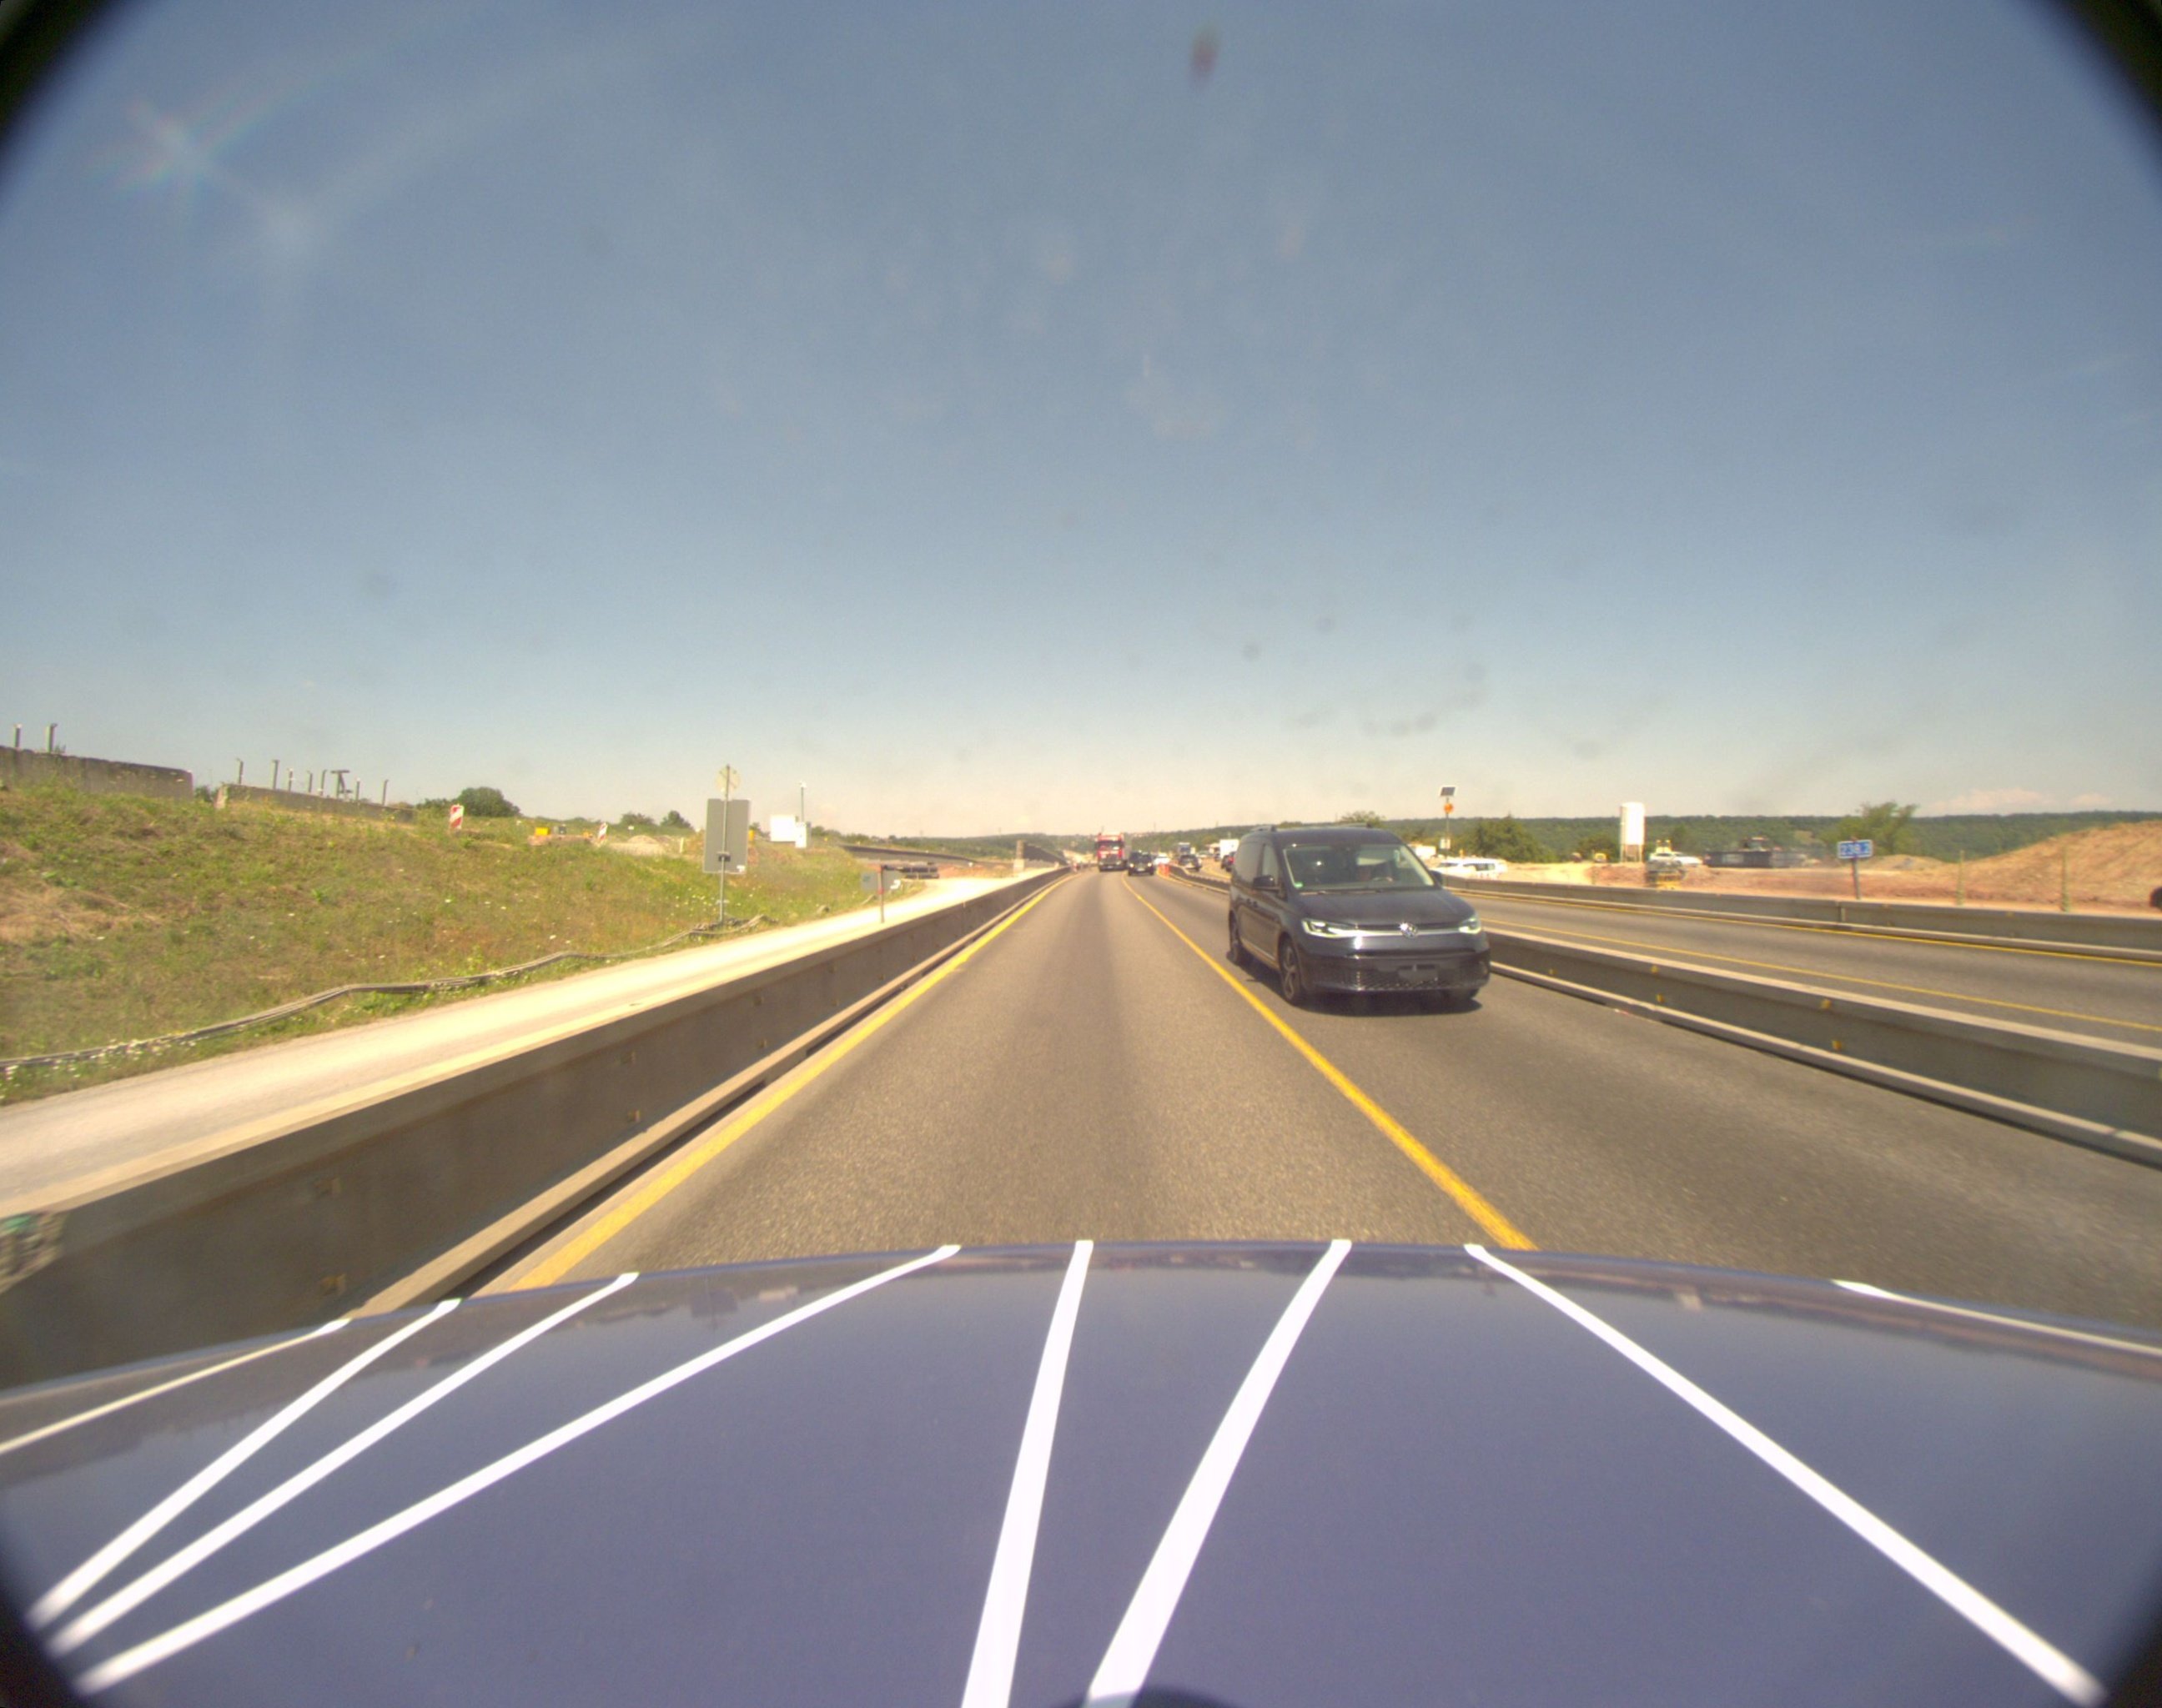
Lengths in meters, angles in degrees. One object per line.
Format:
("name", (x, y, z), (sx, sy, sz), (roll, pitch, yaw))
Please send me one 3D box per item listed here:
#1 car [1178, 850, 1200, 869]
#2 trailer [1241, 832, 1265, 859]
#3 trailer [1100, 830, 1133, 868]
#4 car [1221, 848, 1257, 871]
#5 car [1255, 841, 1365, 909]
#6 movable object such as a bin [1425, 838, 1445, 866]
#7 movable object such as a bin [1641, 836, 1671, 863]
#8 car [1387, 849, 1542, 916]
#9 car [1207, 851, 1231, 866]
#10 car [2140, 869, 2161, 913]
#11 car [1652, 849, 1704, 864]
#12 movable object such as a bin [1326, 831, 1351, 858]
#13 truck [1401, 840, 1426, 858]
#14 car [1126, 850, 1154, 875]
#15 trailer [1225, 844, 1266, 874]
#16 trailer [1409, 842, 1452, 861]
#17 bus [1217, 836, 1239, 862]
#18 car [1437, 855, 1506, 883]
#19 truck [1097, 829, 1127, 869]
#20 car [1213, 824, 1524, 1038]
("car", (9.269, 0.437, 65.408), (1.697, 1.570, 4.135), (-1, 0, 6))
("trailer", (28.168, -1.326, 124.208), (2.763, 4.090, 13.995), (-1, 0, 17))
("trailer", (4.114, -0.543, 85.014), (2.700, 3.852, 12.429), (-1, 0, 7))
("car", (12.419, 0.387, 59.961), (1.928, 1.669, 4.717), (-2, 0, 2))
("car", (6.504, 0.547, 22.157), (1.776, 1.731, 5.039), (-1, 0, 1))
("movable object such as a bin", (41.620, -0.262, 89.340), (1.995, 3.122, 4.284), (-1, 0, 25))
("movable object such as a bin", (69.469, -0.554, 91.788), (1.995, 3.122, 4.493), (-1, 0, 25))
("car", (9.480, 0.632, 19.227), (1.729, 1.470, 4.393), (-1, 0, 1))
("car", (13.726, 0.431, 75.724), (1.825, 1.415, 4.648), (-1, 0, 3))
("car", (49.199, 1.640, 32.246), (2.000, 1.913, 4.561), (-1, 0, -7))
("car", (58.409, 0.204, 74.443), (1.616, 1.401, 4.446), (-1, 0, -1))
("movable object such as a bin", (43.092, -1.637, 126.951), (2.926, 4.304, 9.341), (-1, 0, 24))
("truck", (55.749, -0.847, 127.501), (2.347, 3.026, 4.264), (-1, 0, 0))
("car", (4.401, 0.591, 57.000), (1.799, 1.776, 4.000), (-1, 0, 0))
("trailer", (11.495, 0.335, 53.467), (2.135, 1.970, 5.236), (0, 0, 5))
("trailer", (56.449, -0.430, 122.826), (5.577, 2.979, 2.883), (-1, 0, 0))
("bus", (18.578, -0.670, 96.158), (2.353, 3.107, 7.233), (-1, 0, 9))
("car", (21.546, 0.811, 41.932), (3.204, 1.447, 1.545), (-1, 0, -17))
("truck", (3.232, -0.512, 78.290), (2.625, 3.880, 4.936), (-1, 0, 6))
("car", (2.867, 0.653, 8.836), (1.925, 1.779, 4.603), (-2, 0, 1))
